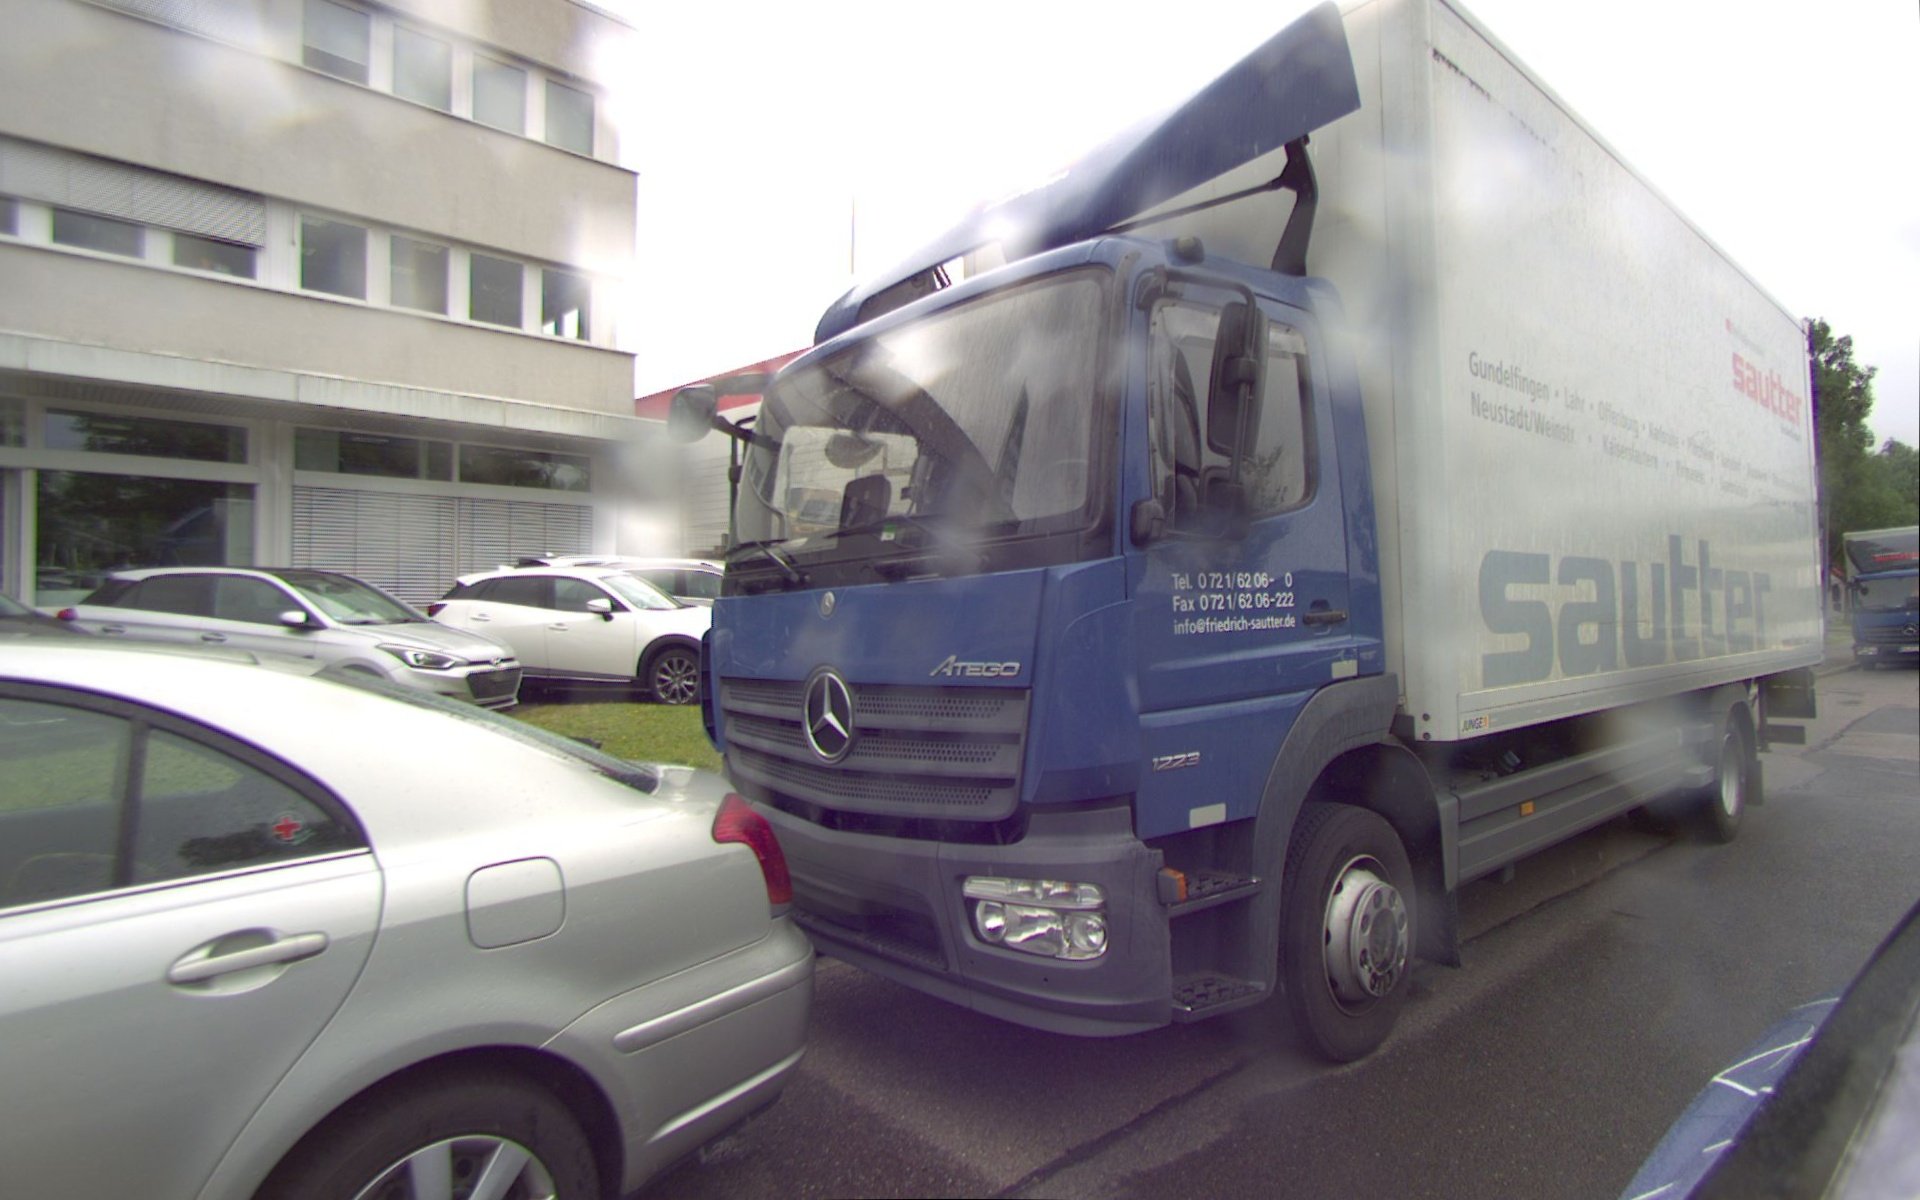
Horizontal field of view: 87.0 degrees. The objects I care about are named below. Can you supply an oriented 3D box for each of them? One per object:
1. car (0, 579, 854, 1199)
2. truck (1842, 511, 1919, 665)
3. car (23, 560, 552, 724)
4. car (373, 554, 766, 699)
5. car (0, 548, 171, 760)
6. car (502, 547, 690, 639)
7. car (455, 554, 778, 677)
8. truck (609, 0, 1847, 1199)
[{"bbox_3d":[-2.440,0.695,1.664,4.270,1.459,1.800,0,1,-42],"label":"car"},{"bbox_3d":[26.212,-0.289,27.244,7.871,3.740,2.675,0,-2,-42],"label":"truck"},{"bbox_3d":[-6.137,0.333,9.499,3.928,1.302,1.705,1,1,5],"label":"car"},{"bbox_3d":[-4.437,0.265,11.871,3.928,1.488,1.774,1,1,5],"label":"car"},{"bbox_3d":[-8.151,0.314,7.330,3.702,1.410,1.704,1,1,6],"label":"car"},{"bbox_3d":[-6.198,-0.123,17.317,2.700,1.443,1.400,0,1,-42],"label":"car"},{"bbox_3d":[-4.748,0.180,14.366,3.928,1.546,1.871,1,1,4],"label":"car"},{"bbox_3d":[2.837,-0.461,6.263,9.137,3.838,2.745,0,-2,-41],"label":"truck"}]
